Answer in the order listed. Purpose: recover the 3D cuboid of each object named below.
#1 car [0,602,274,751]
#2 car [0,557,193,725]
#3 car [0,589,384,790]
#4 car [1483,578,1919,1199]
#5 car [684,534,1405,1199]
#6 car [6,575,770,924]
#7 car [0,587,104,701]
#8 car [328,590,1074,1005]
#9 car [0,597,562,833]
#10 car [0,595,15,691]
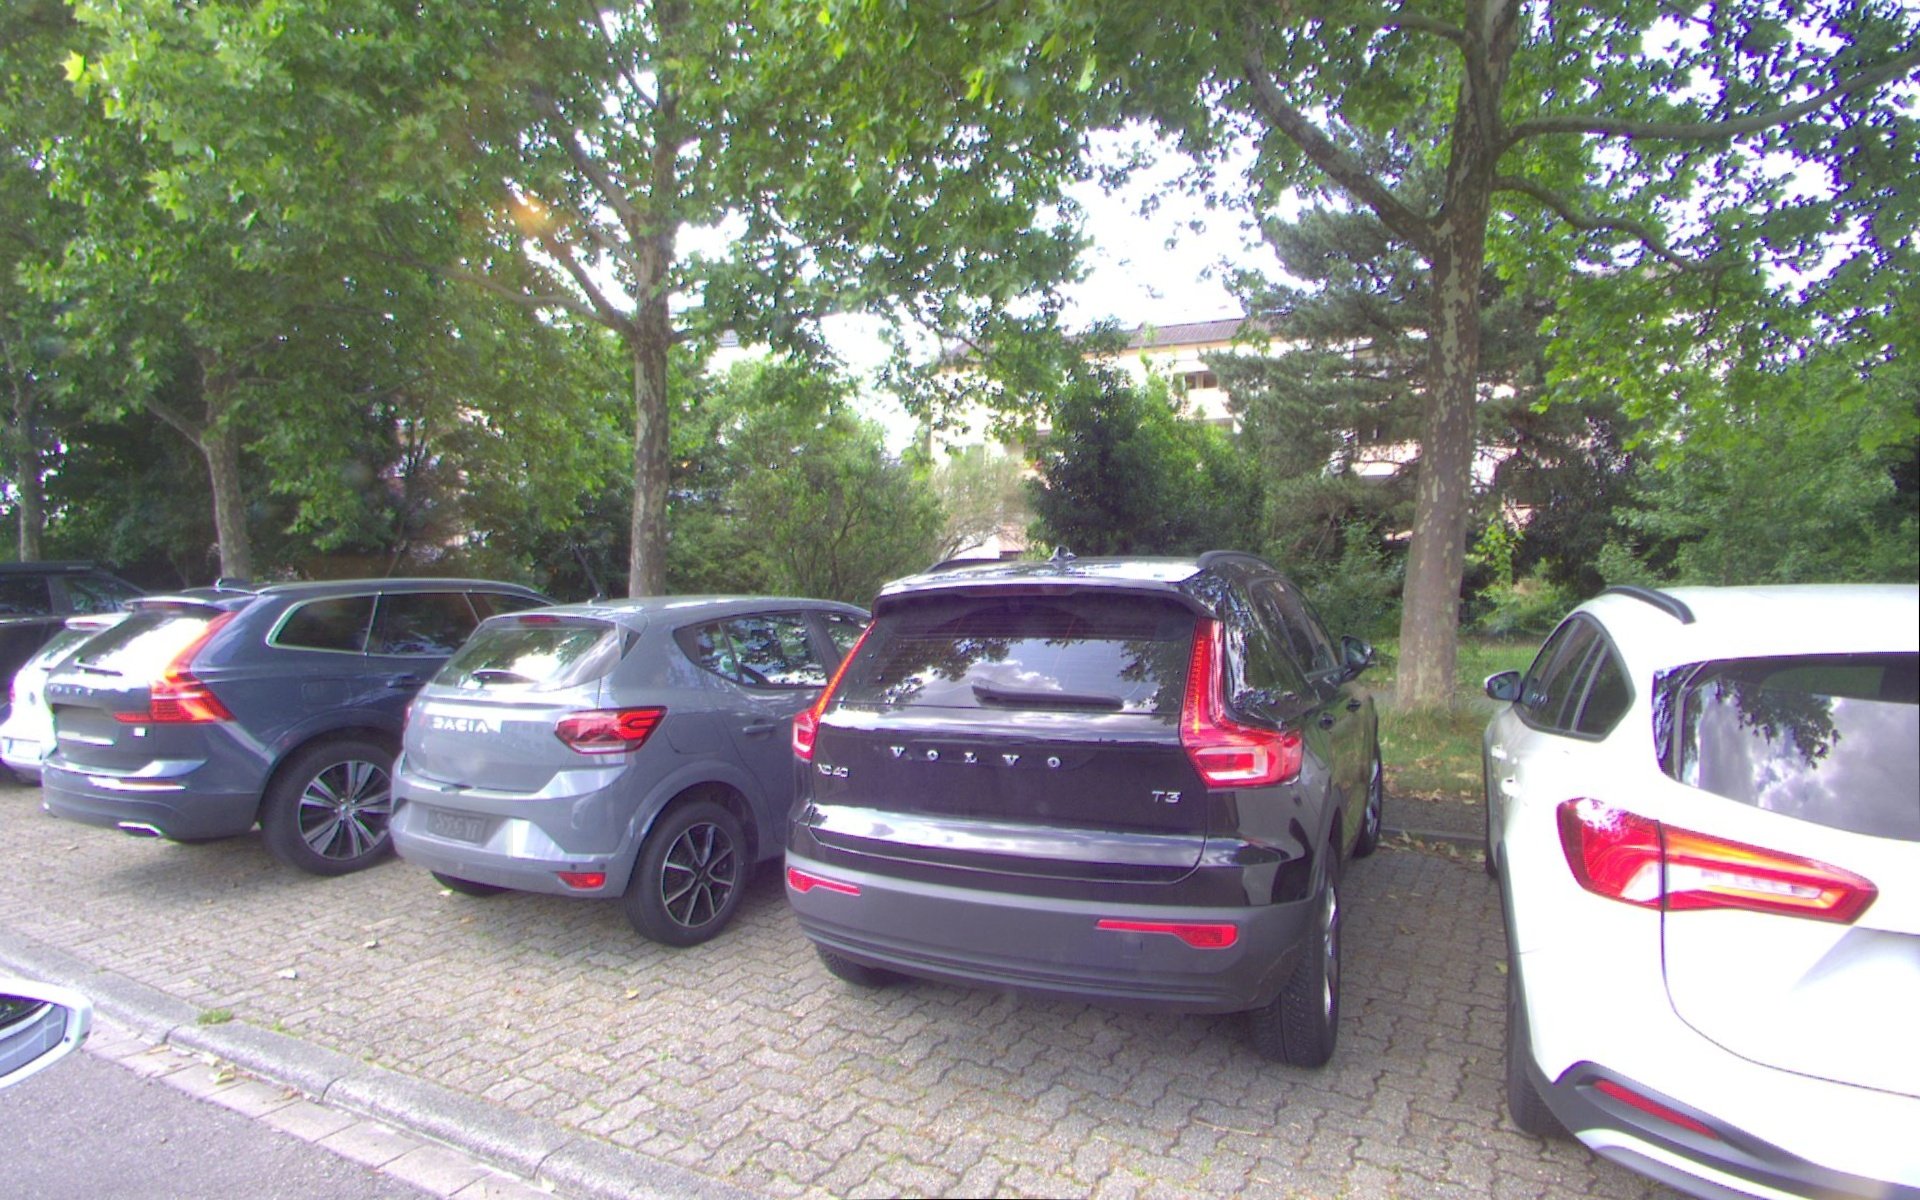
[{"bbox_3d":[-10.477,0.823,11.460,1.730,1.514,3.959,0,1,30],"label":"car"},{"bbox_3d":[-13.113,0.530,13.080,1.828,2.152,4.538,0,1,30],"label":"car"},{"bbox_3d":[-8.143,0.728,9.980,1.725,1.627,3.969,0,1,20],"label":"car"},{"bbox_3d":[2.923,0.674,3.542,1.818,1.493,4.654,0,1,27],"label":"car"},{"bbox_3d":[1.001,0.634,4.787,1.818,1.648,4.654,0,1,27],"label":"car"},{"bbox_3d":[-3.504,0.678,7.069,1.731,1.662,4.370,0,1,32],"label":"car"},{"bbox_3d":[-16.314,0.715,15.299,1.828,1.790,4.538,0,1,30],"label":"car"},{"bbox_3d":[-1.040,0.719,6.051,1.731,1.521,4.370,0,1,32],"label":"car"},{"bbox_3d":[-5.741,0.761,8.773,1.730,1.514,3.959,0,1,30],"label":"car"},{"bbox_3d":[-18.679,0.799,16.203,1.826,1.683,4.543,0,1,26],"label":"car"}]
